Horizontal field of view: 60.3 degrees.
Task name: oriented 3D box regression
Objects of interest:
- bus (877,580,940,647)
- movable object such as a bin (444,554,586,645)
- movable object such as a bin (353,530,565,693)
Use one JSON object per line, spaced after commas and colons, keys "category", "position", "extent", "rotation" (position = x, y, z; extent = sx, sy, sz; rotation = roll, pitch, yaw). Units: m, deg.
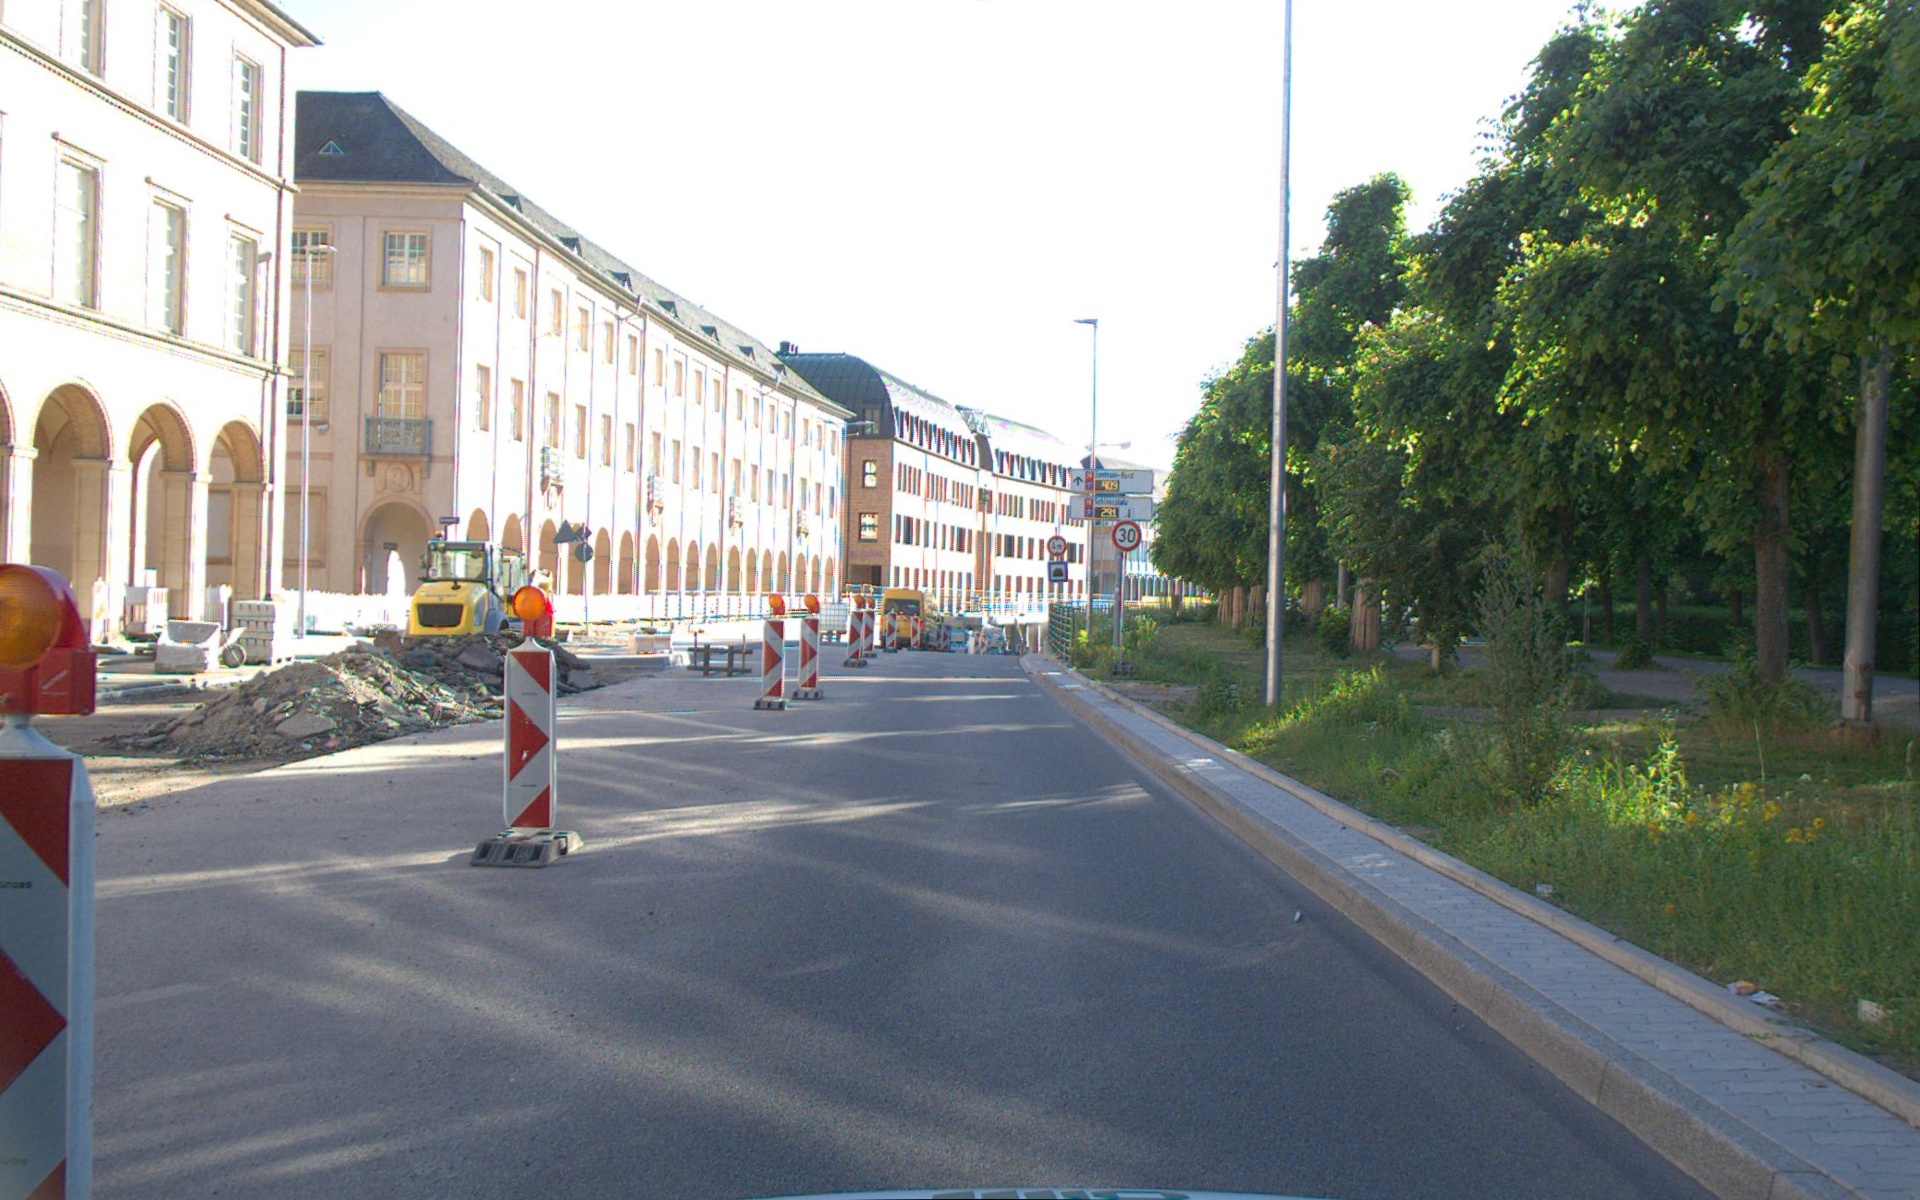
{"category": "bus", "position": [-2.193, 0.628, 71.288], "extent": [2.029, 2.734, 4.686], "rotation": [1, -2, 6]}
{"category": "movable object such as a bin", "position": [-12.488, -0.016, 46.776], "extent": [2.492, 2.390, 4.462], "rotation": [1, 0, 4]}
{"category": "movable object such as a bin", "position": [-8.436, 0.134, 28.312], "extent": [2.031, 2.518, 4.618], "rotation": [1, 1, 2]}
